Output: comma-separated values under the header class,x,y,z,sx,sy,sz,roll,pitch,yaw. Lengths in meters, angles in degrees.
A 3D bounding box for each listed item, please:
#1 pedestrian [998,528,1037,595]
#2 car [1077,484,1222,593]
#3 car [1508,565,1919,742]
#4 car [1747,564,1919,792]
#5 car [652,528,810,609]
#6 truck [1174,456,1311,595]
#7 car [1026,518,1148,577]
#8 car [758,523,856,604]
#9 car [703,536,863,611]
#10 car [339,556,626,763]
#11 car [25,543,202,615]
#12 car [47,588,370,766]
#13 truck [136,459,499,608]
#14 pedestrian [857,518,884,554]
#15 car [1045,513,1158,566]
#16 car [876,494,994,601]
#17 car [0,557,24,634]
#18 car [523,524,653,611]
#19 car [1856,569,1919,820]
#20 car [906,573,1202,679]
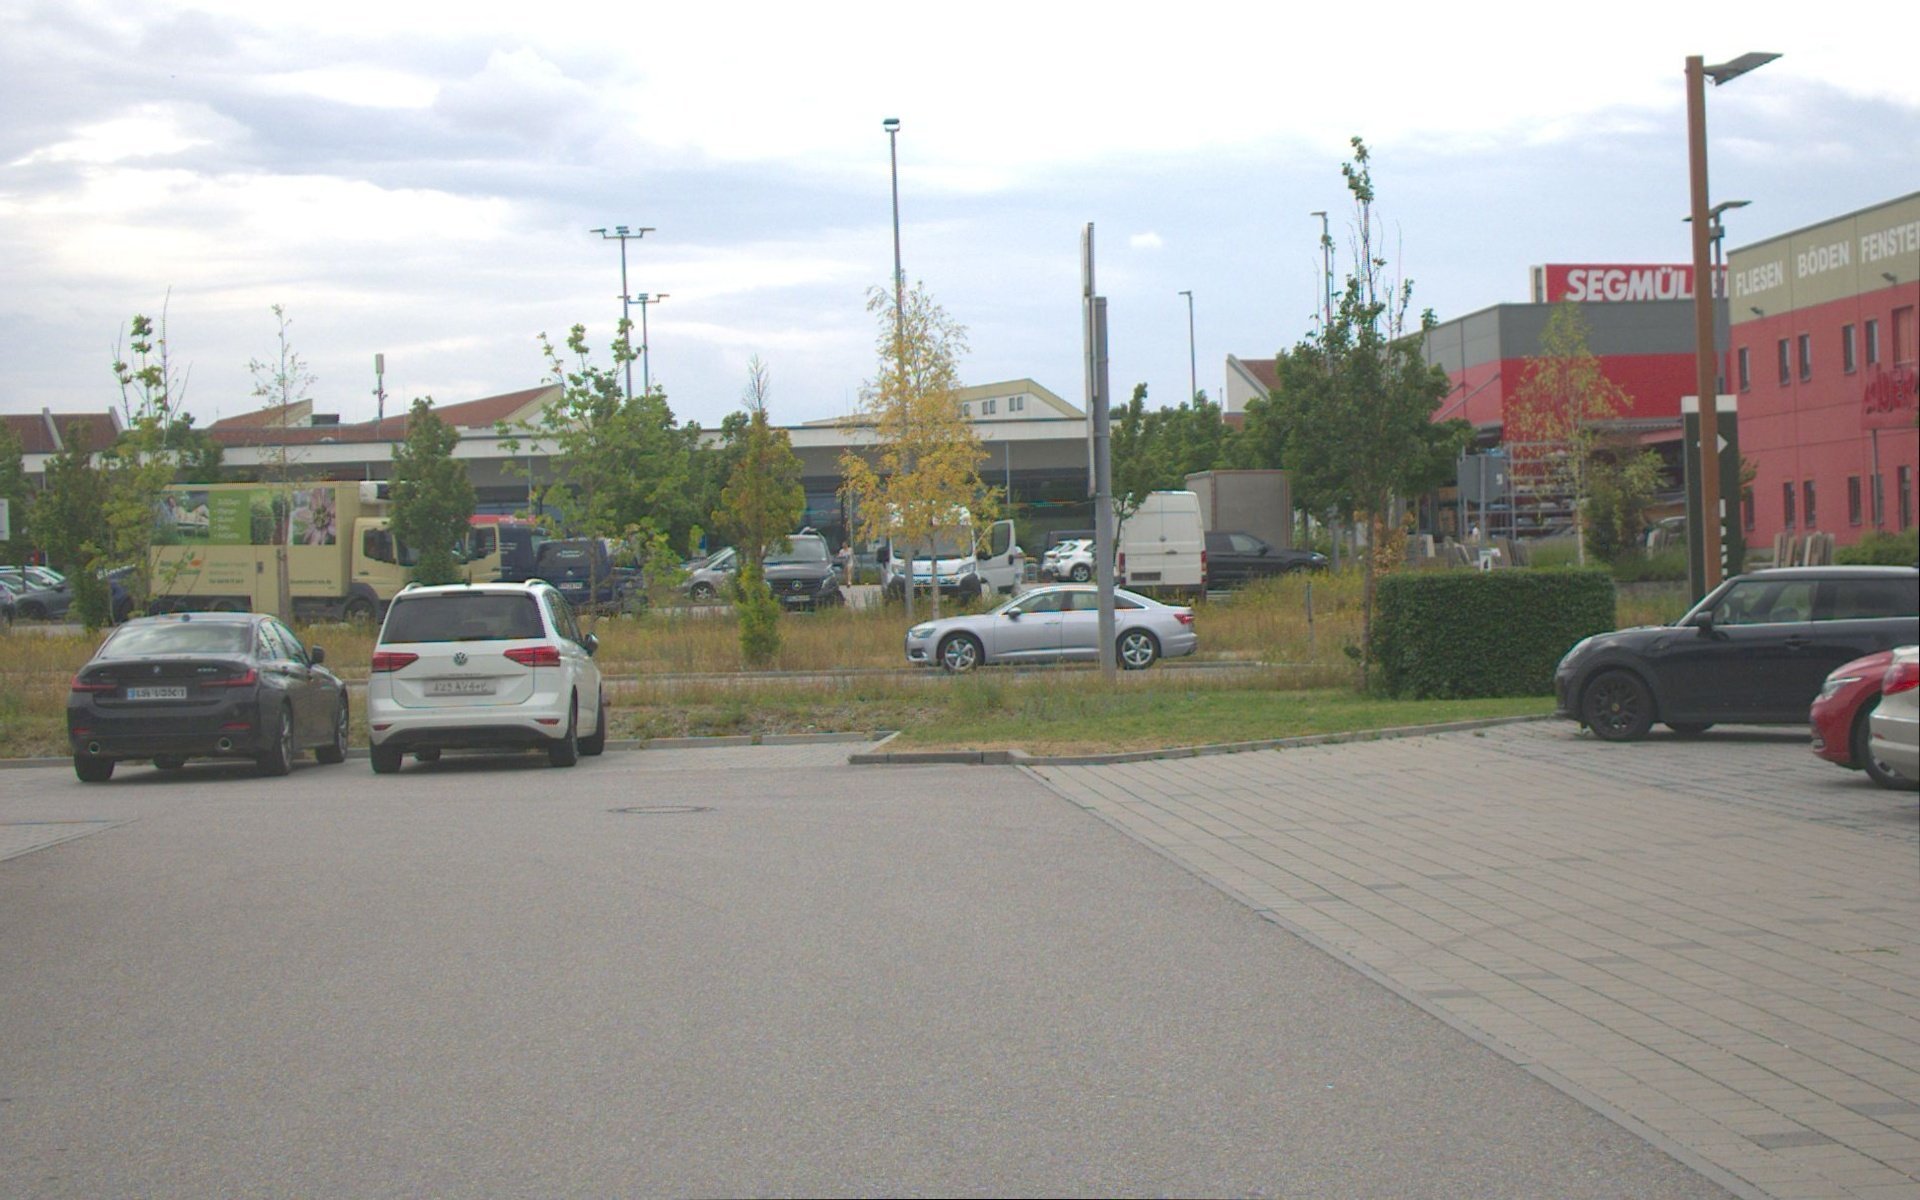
class,x,y,z,sx,sy,sz,roll,pitch,yaw
pedestrian,1.270,-0.854,76.160,0.785,1.424,0.978,-2,2,-1
car,4.173,-1.431,77.025,2.337,2.260,6.508,-2,2,-4
car,6.772,0.418,28.929,3.925,1.407,1.684,0,1,34
car,7.334,0.492,22.311,3.995,1.459,1.684,0,1,36
car,-6.141,-0.859,92.019,3.986,2.006,2.001,-2,2,-9
truck,7.986,-2.187,98.078,2.647,3.730,8.258,-2,2,-3
car,4.237,-1.769,115.334,3.987,1.831,2.000,-2,2,1
car,-3.406,-0.834,76.704,2.071,1.633,5.071,-1,2,-2
car,-4.514,-0.686,87.811,3.986,1.732,1.891,-2,2,-2
car,-4.243,0.544,31.216,1.986,1.707,4.372,-1,-1,0
car,-23.132,-0.579,94.073,4.306,1.765,2.000,-2,2,-2
car,-6.707,0.687,31.159,1.941,1.461,4.516,-1,-1,0
truck,-14.660,-1.485,78.116,8.421,3.185,3.024,0,3,36
pedestrian,-3.553,-2.536,136.379,0.651,1.424,0.798,-3,3,-39
car,5.085,-2.180,123.883,3.987,1.730,1.934,-2,2,1
car,-0.609,-1.222,77.081,2.408,2.206,6.060,-1,2,-2
car,-23.423,-0.021,79.038,1.926,1.765,4.320,-1,2,10
car,-8.347,-0.736,77.534,2.071,1.878,5.069,-1,1,3
car,7.425,0.522,19.003,4.454,1.407,1.750,0,1,37
car,1.544,0.422,57.520,4.838,1.546,1.802,-2,2,0
